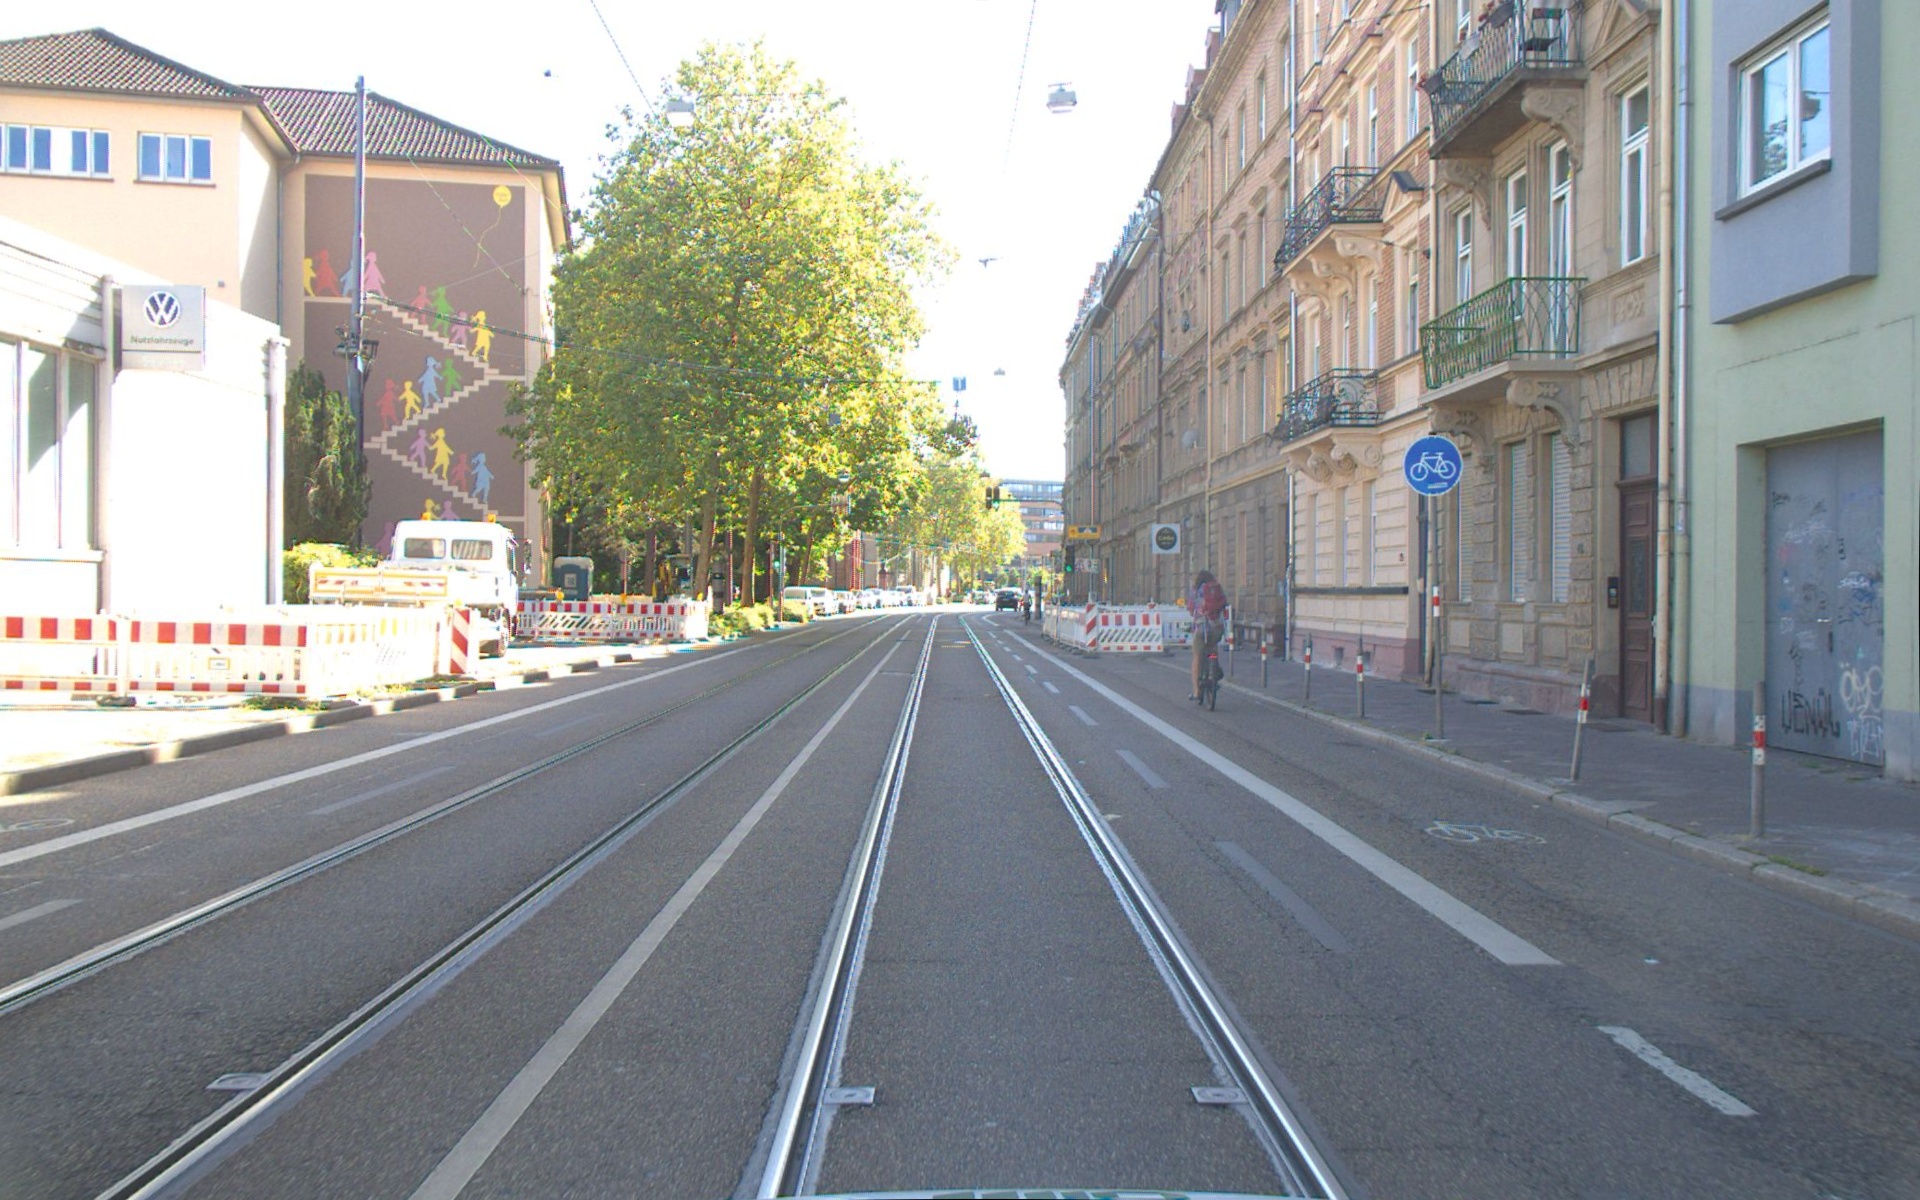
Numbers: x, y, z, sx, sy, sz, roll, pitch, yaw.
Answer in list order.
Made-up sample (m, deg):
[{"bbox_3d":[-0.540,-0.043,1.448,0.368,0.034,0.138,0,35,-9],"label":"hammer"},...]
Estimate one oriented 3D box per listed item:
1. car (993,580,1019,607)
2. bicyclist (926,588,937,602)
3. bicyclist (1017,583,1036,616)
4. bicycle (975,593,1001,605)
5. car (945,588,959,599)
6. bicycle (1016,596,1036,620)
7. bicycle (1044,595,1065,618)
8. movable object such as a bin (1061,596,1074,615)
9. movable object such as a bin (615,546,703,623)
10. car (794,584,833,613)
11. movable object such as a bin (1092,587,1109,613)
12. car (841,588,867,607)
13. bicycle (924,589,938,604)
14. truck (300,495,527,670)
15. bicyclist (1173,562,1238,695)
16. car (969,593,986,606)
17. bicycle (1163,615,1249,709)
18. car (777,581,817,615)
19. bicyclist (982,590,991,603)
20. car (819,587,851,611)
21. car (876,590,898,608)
[{"bbox_3d":[3.670,-0.490,133.142,1.953,2.049,4.000,2,0,0],"label":"car"},{"bbox_3d":[-3.168,-0.572,186.052,1.054,1.452,1.147,2,0,8],"label":"bicyclist"},{"bbox_3d":[3.234,-0.033,80.782,0.821,1.585,0.965,2,0,-1],"label":"bicyclist"},{"bbox_3d":[3.195,-0.158,188.841,2.826,1.253,0.885,2,0,10],"label":"bicycle"},{"bbox_3d":[-1.186,-0.993,249.966,1.712,1.653,4.045,2,0,4],"label":"car"},{"bbox_3d":[3.214,0.402,80.732,0.838,1.107,2.487,2,0,0],"label":"bicycle"},{"bbox_3d":[6.414,0.437,112.597,0.950,1.541,3.249,2,0,11],"label":"bicycle"},{"bbox_3d":[5.950,0.316,91.539,0.659,1.054,0.813,0,1,0],"label":"movable object such as a bin"},{"bbox_3d":[-11.263,-0.575,62.291,2.445,2.691,5.985,2,0,-3],"label":"movable object such as a bin"},{"bbox_3d":[-8.517,-0.077,96.592,1.712,1.636,4.044,2,0,2],"label":"car"},{"bbox_3d":[6.232,0.020,73.250,0.607,1.129,0.780,2,0,-3],"label":"movable object such as a bin"},{"bbox_3d":[-8.644,-0.196,135.101,1.712,1.521,4.044,2,0,2],"label":"car"},{"bbox_3d":[-3.278,-0.401,186.100,1.208,1.600,2.899,2,0,7],"label":"bicycle"},{"bbox_3d":[-10.074,-0.288,31.191,2.488,2.879,6.370,2,0,-4],"label":"truck"},{"bbox_3d":[3.287,0.377,22.230,0.653,1.726,1.043,2,0,-1],"label":"bicyclist"},{"bbox_3d":[2.065,-0.097,194.014,1.712,1.447,4.045,2,0,4],"label":"car"},{"bbox_3d":[3.271,0.801,22.225,0.667,1.134,2.706,2,0,-1],"label":"bicycle"},{"bbox_3d":[-8.472,-0.092,86.093,1.513,1.687,3.763,2,0,2],"label":"car"},{"bbox_3d":[3.034,-0.394,188.879,0.880,1.452,1.054,2,0,8],"label":"bicyclist"},{"bbox_3d":[-8.450,-0.039,112.156,1.712,1.536,4.044,2,0,2],"label":"car"},{"bbox_3d":[-6.872,-0.113,155.702,1.712,1.614,4.044,2,0,2],"label":"car"}]
